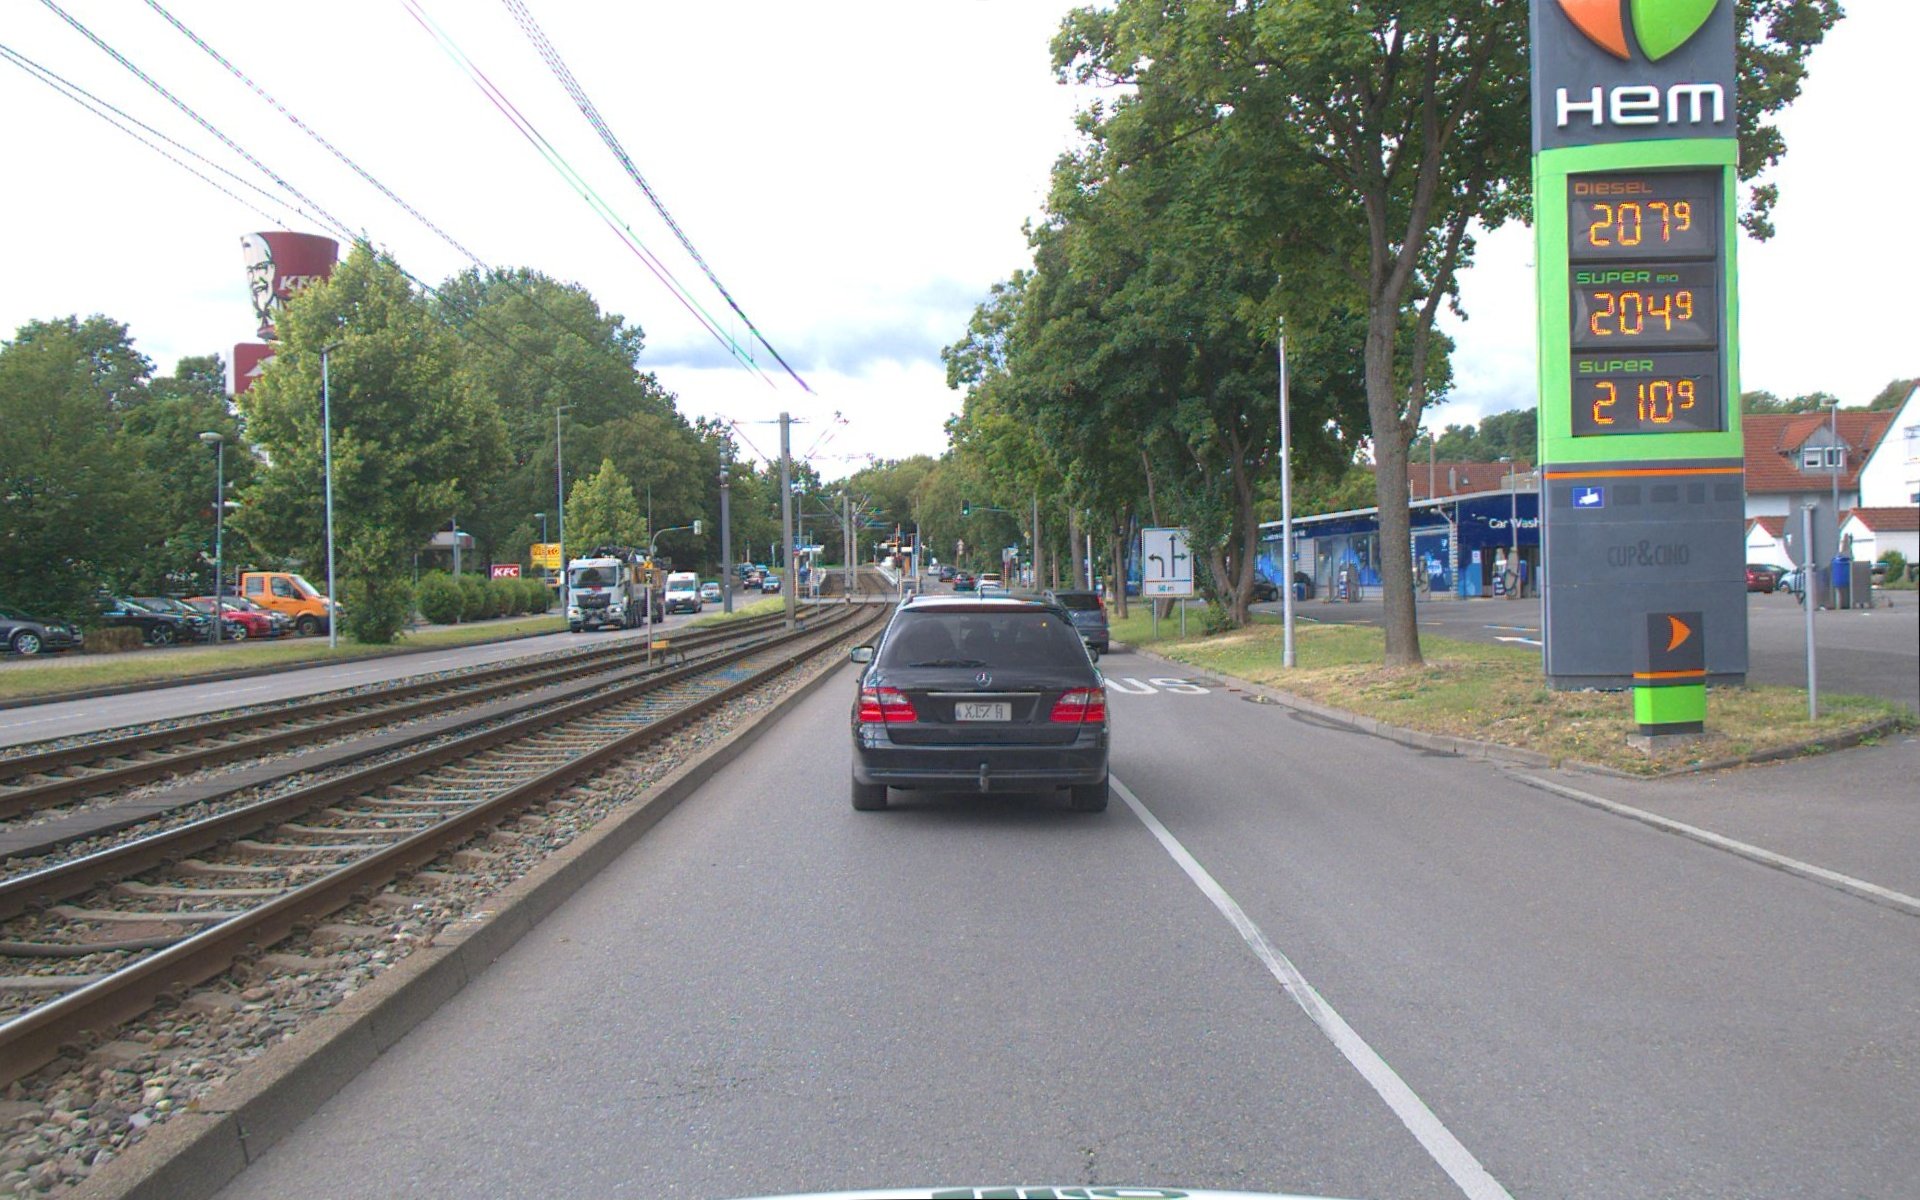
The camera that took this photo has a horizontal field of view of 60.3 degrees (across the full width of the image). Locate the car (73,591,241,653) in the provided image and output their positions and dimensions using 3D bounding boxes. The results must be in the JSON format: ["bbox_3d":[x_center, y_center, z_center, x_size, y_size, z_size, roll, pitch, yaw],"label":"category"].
[{"bbox_3d":[-23.304,0.624,48.106,3.910,1.627,1.876,-2,1,-6],"label":"car"}]

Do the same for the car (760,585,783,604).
[{"bbox_3d":[-17.334,-0.504,152.318,1.729,1.676,3.770,0,0,-1],"label":"car"}]

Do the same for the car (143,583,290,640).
[{"bbox_3d":[-24.062,0.353,53.626,3.909,1.829,1.876,0,0,-6],"label":"car"}]

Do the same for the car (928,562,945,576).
[{"bbox_3d":[-2.914,-3.851,204.974,1.953,1.744,3.999,-1,1,-1],"label":"car"}]

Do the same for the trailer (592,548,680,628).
[{"bbox_3d":[-16.498,-0.637,85.029,2.651,3.724,13.289,-2,1,-4],"label":"trailer"}]

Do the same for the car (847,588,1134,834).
[{"bbox_3d":[0.165,0.668,12.137,1.771,1.500,3.880,0,1,-1],"label":"car"}]

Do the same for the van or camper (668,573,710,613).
[{"bbox_3d":[-17.329,-0.451,105.904,1.954,2.395,5.763,-2,1,-3],"label":"van or camper"}]

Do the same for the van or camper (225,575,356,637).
[{"bbox_3d":[-23.719,0.199,58.691,3.909,2.172,1.876,0,0,-6],"label":"van or camper"}]

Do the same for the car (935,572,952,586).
[{"bbox_3d":[-1.839,-2.313,182.085,1.634,1.559,3.767,0,0,-4],"label":"car"}]

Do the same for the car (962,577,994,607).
[{"bbox_3d":[1.162,-0.535,106.941,1.953,1.870,3.999,0,0,-1],"label":"car"}]

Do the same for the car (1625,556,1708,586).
[{"bbox_3d":[41.257,-1.683,96.599,4.132,1.713,1.776,0,0,-4],"label":"car"}]

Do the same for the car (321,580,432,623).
[{"bbox_3d":[-23.919,0.065,67.867,3.910,1.627,1.794,-2,1,-6],"label":"car"}]

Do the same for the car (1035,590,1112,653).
[{"bbox_3d":[2.683,0.490,39.561,1.539,1.439,3.353,1,0,-1],"label":"car"}]

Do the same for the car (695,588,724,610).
[{"bbox_3d":[-19.717,-0.109,130.427,1.729,1.676,3.770,0,0,-1],"label":"car"}]

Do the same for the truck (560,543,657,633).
[{"bbox_3d":[-15.889,-0.550,75.513,2.653,3.727,11.104,-2,1,-4],"label":"truck"}]

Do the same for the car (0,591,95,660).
[{"bbox_3d":[-23.961,0.648,41.055,3.910,1.627,1.876,-2,1,-6],"label":"car"}]

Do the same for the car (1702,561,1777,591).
[{"bbox_3d":[37.830,-1.158,80.315,1.553,1.418,3.407,0,0,-13],"label":"car"}]

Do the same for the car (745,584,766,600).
[{"bbox_3d":[-21.643,-0.817,175.204,1.729,1.676,3.770,0,0,-1],"label":"car"}]

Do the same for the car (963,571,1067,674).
[{"bbox_3d":[0.972,0.397,31.039,1.744,1.781,3.717,1,0,-1],"label":"car"}]
